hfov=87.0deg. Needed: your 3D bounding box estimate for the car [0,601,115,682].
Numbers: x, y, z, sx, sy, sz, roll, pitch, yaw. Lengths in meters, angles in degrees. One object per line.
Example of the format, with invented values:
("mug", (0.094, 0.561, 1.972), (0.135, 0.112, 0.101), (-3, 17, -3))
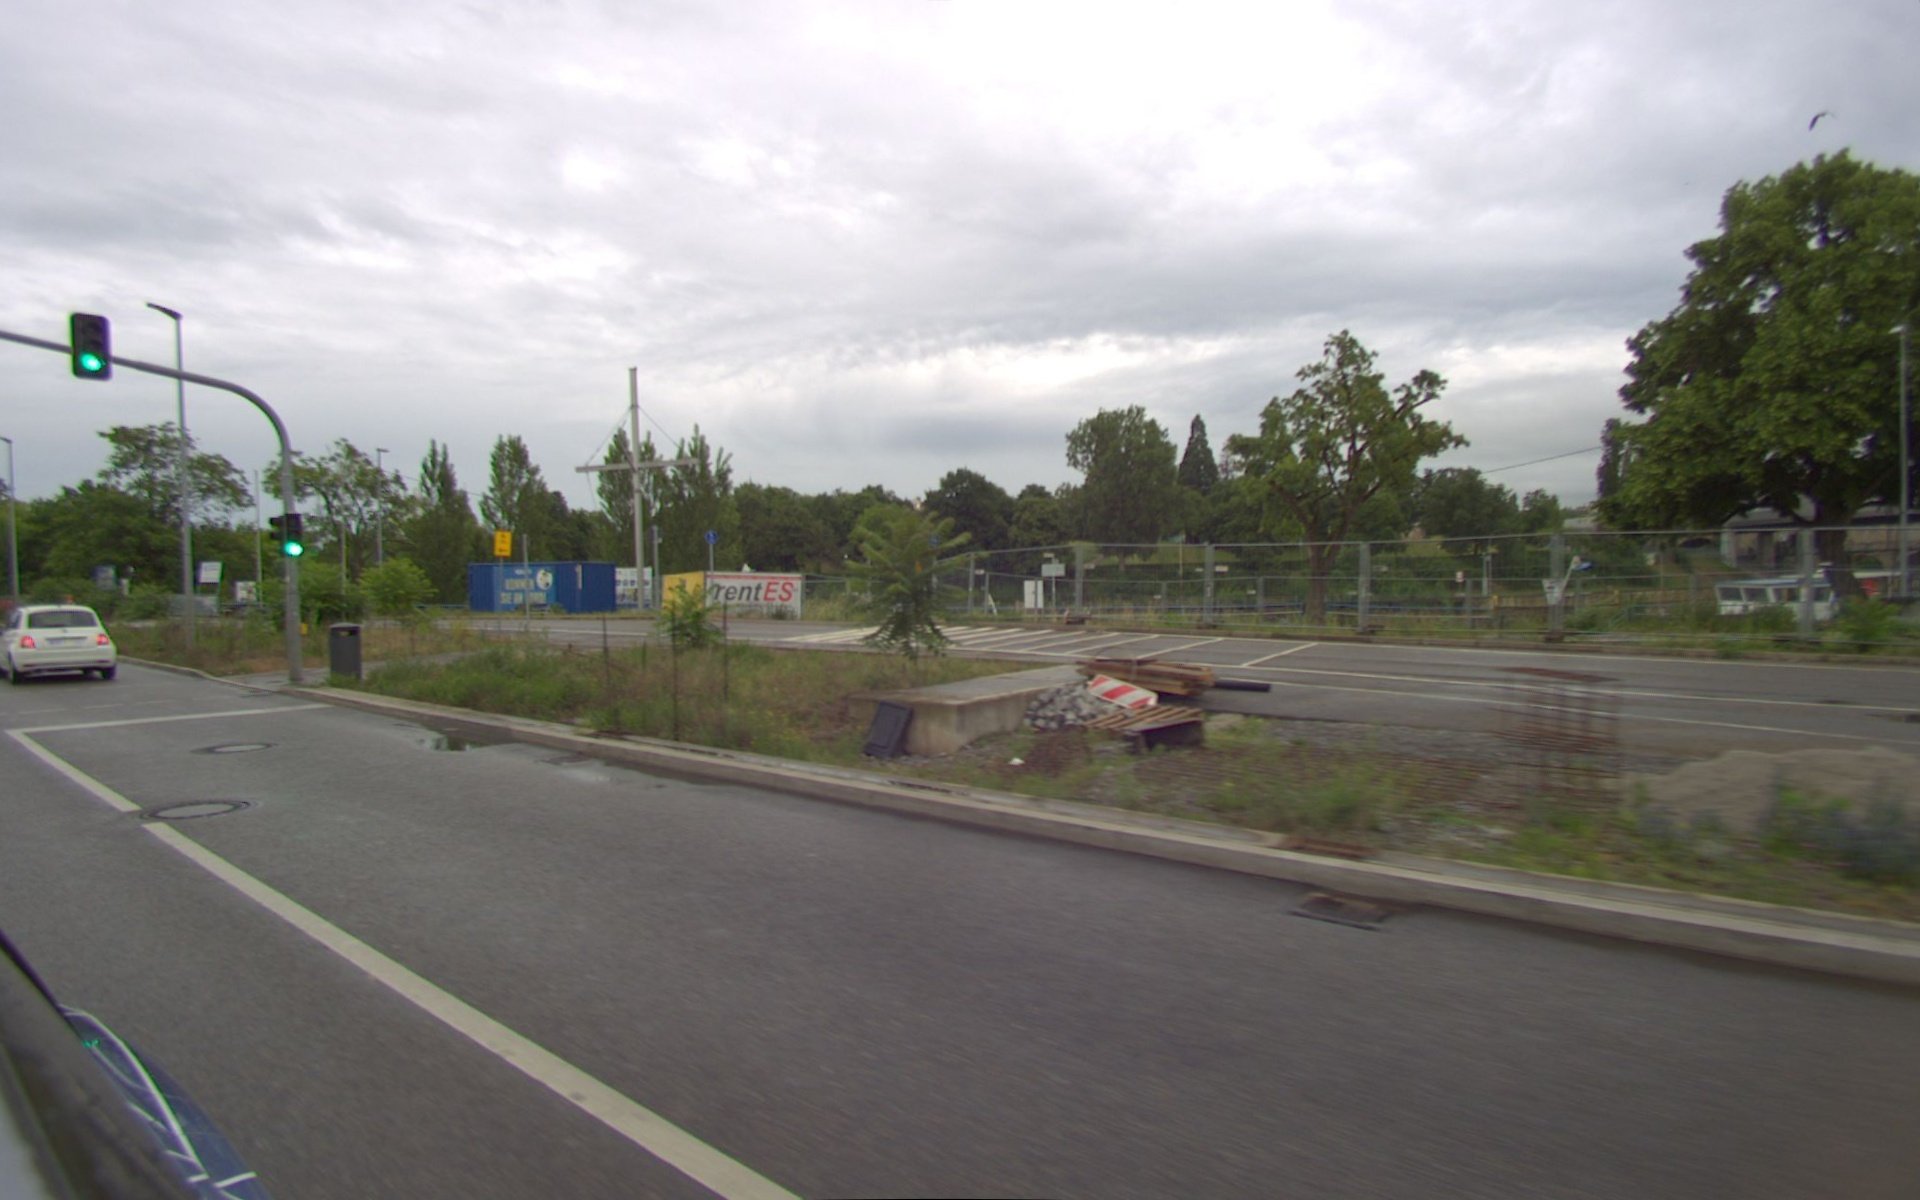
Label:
("car", (-18.617, 0.778, 20.654), (3.713, 1.502, 1.570), (0, 0, 42))
